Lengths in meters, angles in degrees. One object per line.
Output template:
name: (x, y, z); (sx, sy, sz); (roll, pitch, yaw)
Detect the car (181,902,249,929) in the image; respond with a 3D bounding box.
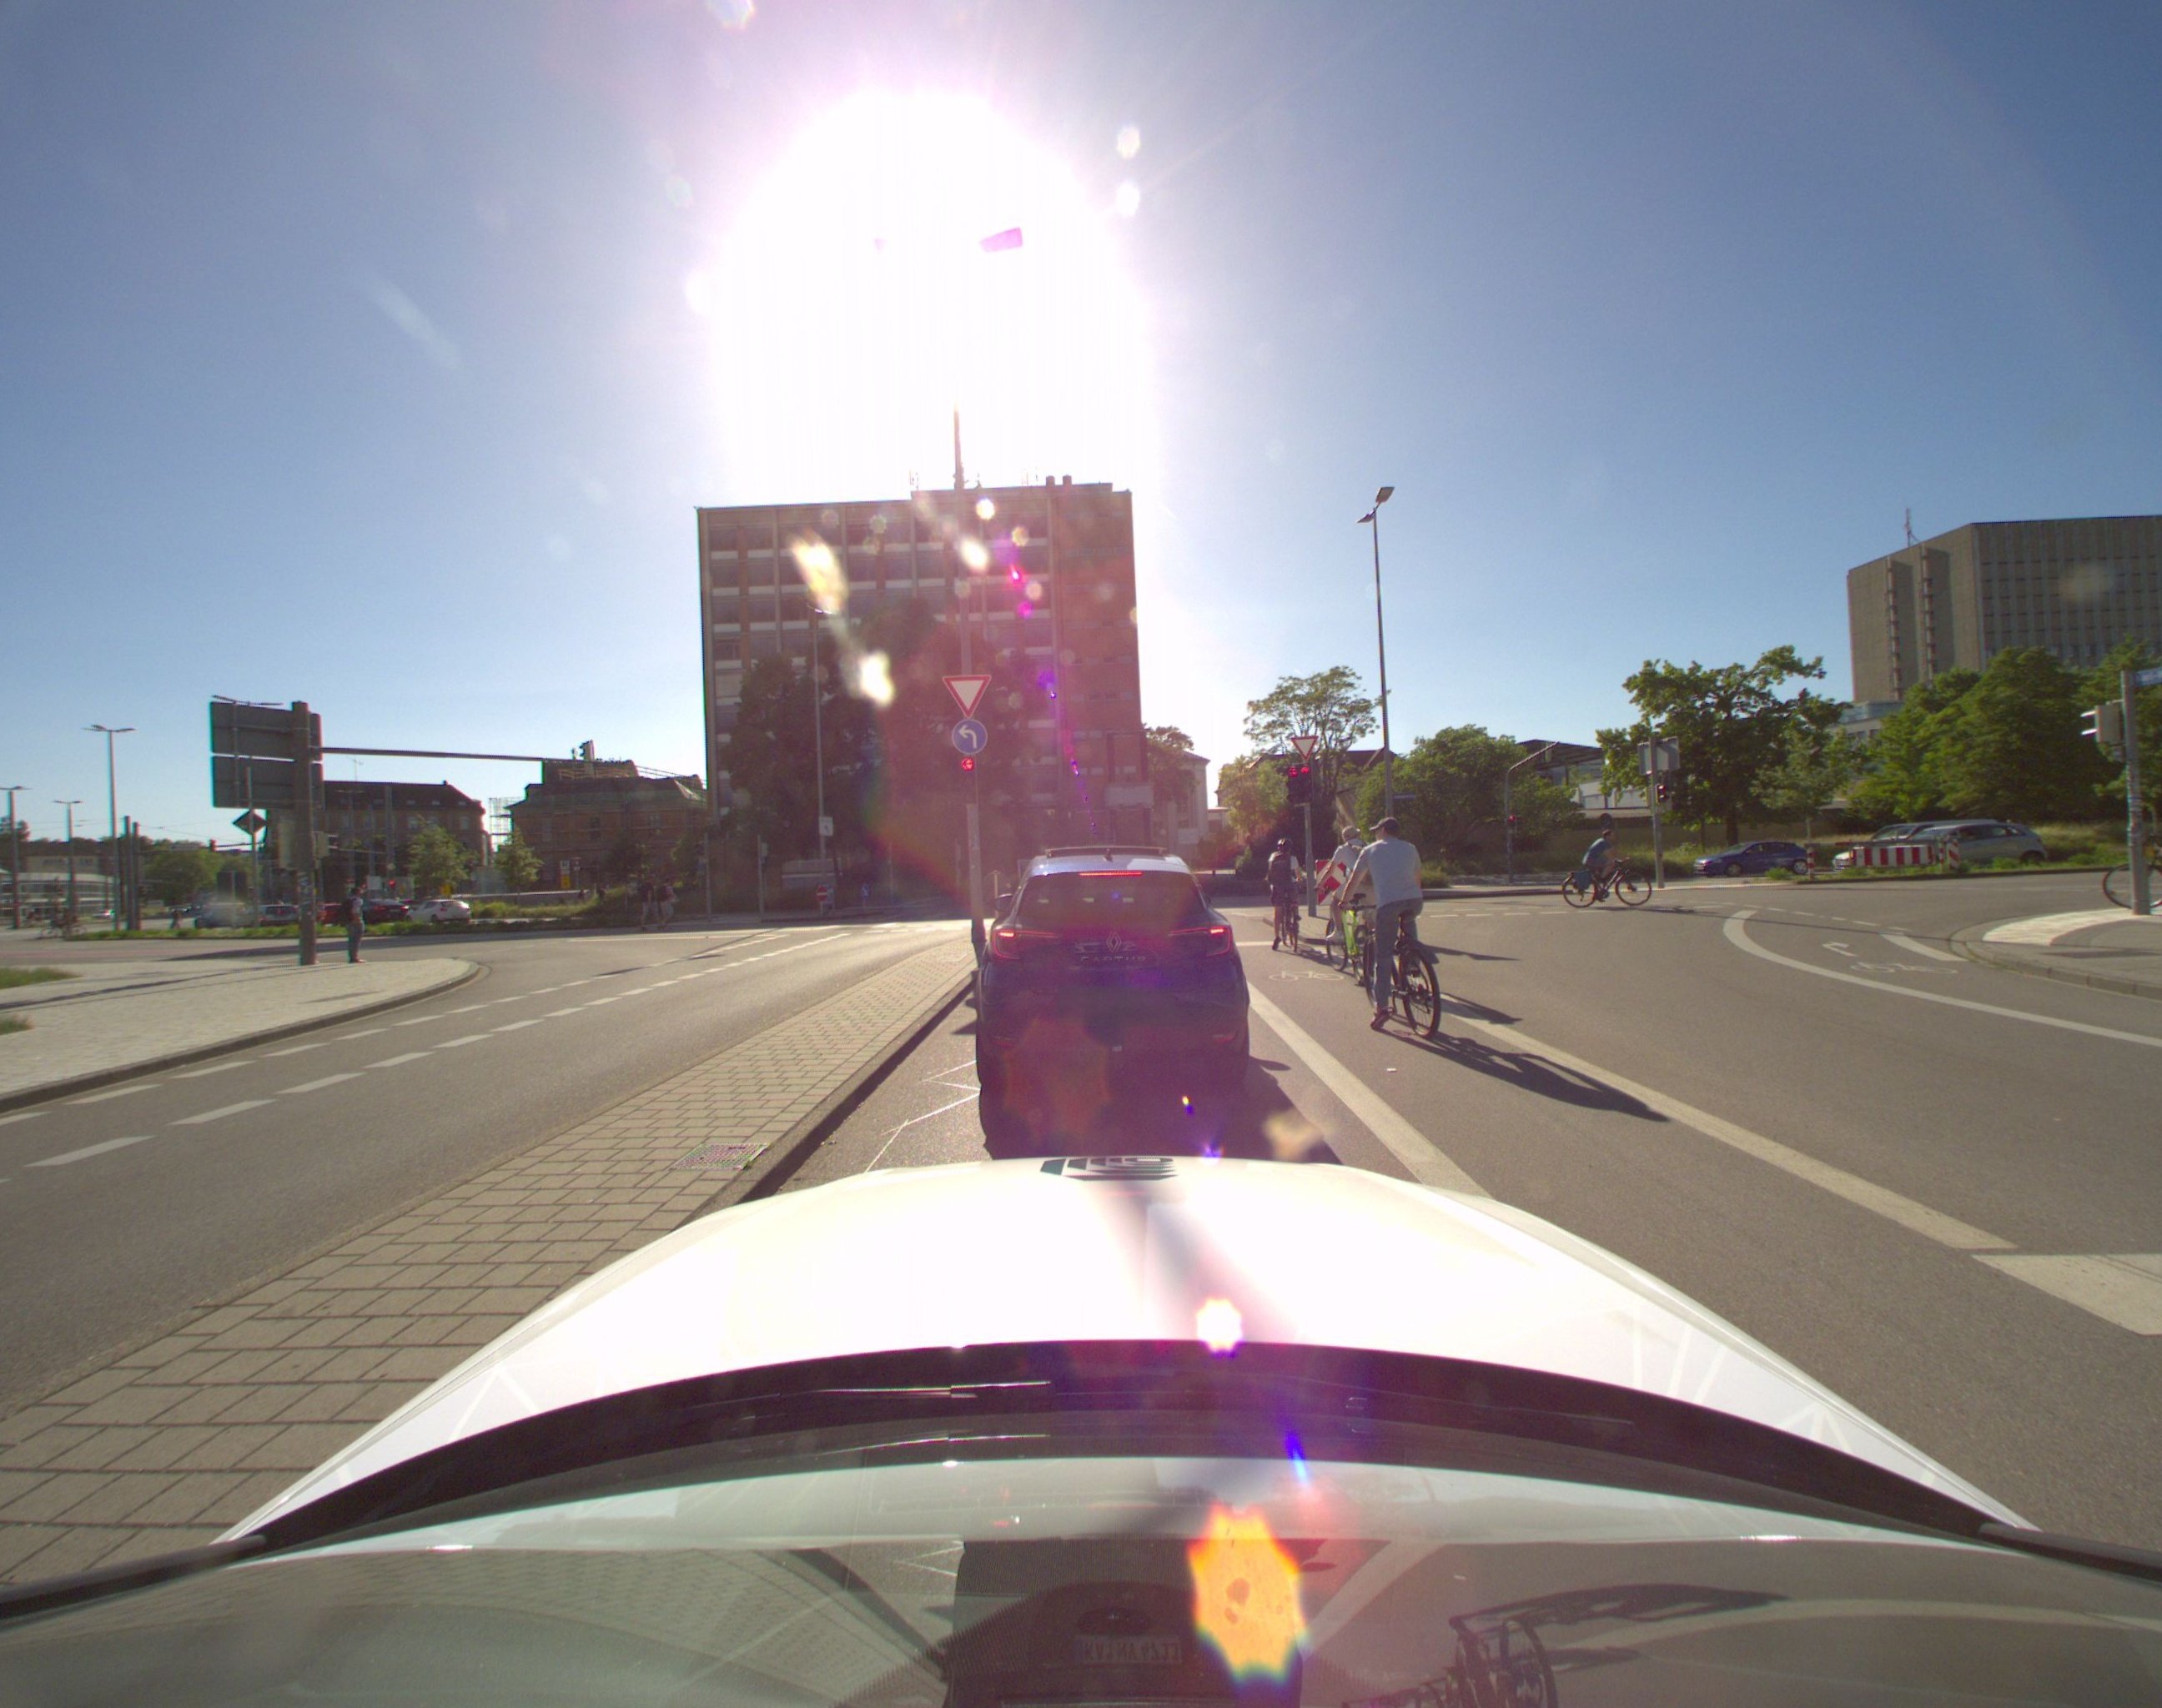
car: (-54.908, 3.890, 51.648); (3.834, 1.508, 1.805); (-3, -1, 25)

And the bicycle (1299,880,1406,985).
bicycle: (3.225, 0.887, 9.869); (0.687, 1.089, 1.923); (-1, 0, 2)

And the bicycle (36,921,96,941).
bicycle: (-65.636, 4.961, 52.688); (0.800, 1.062, 2.434); (-1, -1, 39)

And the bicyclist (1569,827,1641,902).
bicyclist: (11.203, 0.228, 17.428); (1.045, 1.513, 0.643); (-4, -1, 9)

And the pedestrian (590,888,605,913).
pedestrian: (-35.069, 3.345, 59.063); (0.680, 1.730, 0.759); (-2, -1, -7)

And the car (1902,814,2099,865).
car: (29.224, -0.436, 26.006); (3.965, 1.398, 1.798); (-3, -1, 7)

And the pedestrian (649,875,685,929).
pedestrian: (-13.652, 1.575, 26.859); (0.675, 1.730, 0.764); (-3, -1, 15)

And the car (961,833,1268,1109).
car: (0.199, 0.702, 6.773); (1.783, 1.585, 3.913); (-1, 0, 0)

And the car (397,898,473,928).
car: (-36.390, 3.334, 45.845); (3.834, 1.508, 1.805); (-3, -1, 25)

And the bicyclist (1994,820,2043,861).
bicyclist: (32.266, -0.451, 28.044); (0.870, 1.343, 0.612); (-2, -1, 7)

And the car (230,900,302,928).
car: (-48.859, 3.602, 48.815); (3.834, 1.508, 1.805); (-3, -1, 25)

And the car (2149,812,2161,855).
car: (36.904, -0.765, 25.335); (4.534, 1.398, 1.798); (-3, -1, 7)

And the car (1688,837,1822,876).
car: (28.138, 0.103, 34.111); (3.965, 1.398, 1.798); (-3, -1, 7)

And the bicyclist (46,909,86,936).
bicyclist: (-65.639, 4.436, 52.684); (0.800, 1.634, 1.586); (-1, -1, 38)

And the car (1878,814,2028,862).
car: (35.874, -0.620, 33.612); (3.965, 1.749, 1.798); (-3, -1, 7)

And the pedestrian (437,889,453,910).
pedestrian: (-54.250, 3.903, 69.445); (0.755, 1.730, 0.683); (-2, -1, 2)

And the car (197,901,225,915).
car: (-139.150, 8.571, 130.253); (1.797, 2.013, 3.963); (-2, -1, -29)

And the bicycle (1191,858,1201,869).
bicycle: (12.960, 1.085, 91.799); (0.692, 1.140, 2.441); (-2, 0, 1)

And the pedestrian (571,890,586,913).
pedestrian: (-38.887, 3.683, 63.038); (0.678, 1.730, 0.761); (-2, -1, -1)

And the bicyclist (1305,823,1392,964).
bicyclist: (3.218, 0.455, 9.886); (0.676, 1.594, 1.142); (-1, -1, 2)

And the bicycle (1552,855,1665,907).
bicycle: (11.247, 0.575, 17.421); (1.887, 0.973, 0.651); (-4, -1, 9)

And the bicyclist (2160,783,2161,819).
bicyclist: (16.028, -0.228, 11.479); (0.635, 1.646, 0.903); (-2, -1, -39)

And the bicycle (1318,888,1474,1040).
bicycle: (2.726, 0.896, 7.291); (0.687, 1.089, 1.923); (-1, 0, 2)

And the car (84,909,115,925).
car: (-140.659, 9.060, 116.755); (2.010, 2.013, 3.954); (-2, -1, -38)

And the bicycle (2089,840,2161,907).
bicycle: (15.917, 0.266, 11.632); (0.640, 0.958, 1.866); (-2, -1, -39)

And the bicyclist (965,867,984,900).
bicyclist: (-5.756, 1.607, 44.078); (0.751, 1.716, 1.001); (-2, -1, 7)

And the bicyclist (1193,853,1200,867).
bicyclist: (12.940, 0.685, 91.262); (0.692, 1.481, 0.717); (-2, -1, 0)

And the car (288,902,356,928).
car: (-48.202, 3.868, 51.720); (3.834, 1.508, 1.805); (-3, -1, 25)

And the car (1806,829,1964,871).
car: (30.300, -0.138, 30.797); (3.965, 1.398, 1.798); (-3, -1, 7)

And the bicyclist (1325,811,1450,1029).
bicyclist: (2.717, 0.551, 7.337); (0.680, 1.791, 1.142); (-1, -1, 2)

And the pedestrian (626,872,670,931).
pedestrian: (-14.404, 1.565, 27.098); (0.807, 1.862, 0.913); (-3, -1, 15)

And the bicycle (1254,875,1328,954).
bicycle: (3.262, 0.906, 12.819); (0.687, 1.089, 1.923); (-1, 0, 2)

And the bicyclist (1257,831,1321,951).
bicyclist: (3.237, 0.557, 12.763); (0.697, 1.791, 1.142); (-1, -1, 2)

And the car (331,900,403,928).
car: (-42.634, 3.564, 48.606); (3.834, 1.508, 1.805); (-3, -1, 25)

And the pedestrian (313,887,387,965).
pedestrian: (-17.218, 1.670, 19.195); (0.647, 1.730, 1.066); (-3, -1, 15)

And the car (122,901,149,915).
car: (-152.962, 8.652, 131.767); (2.008, 2.014, 3.956); (0, -1, -35)

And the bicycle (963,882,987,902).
bicycle: (-5.723, 2.042, 44.179); (0.751, 0.985, 2.098); (-2, 0, 8)
